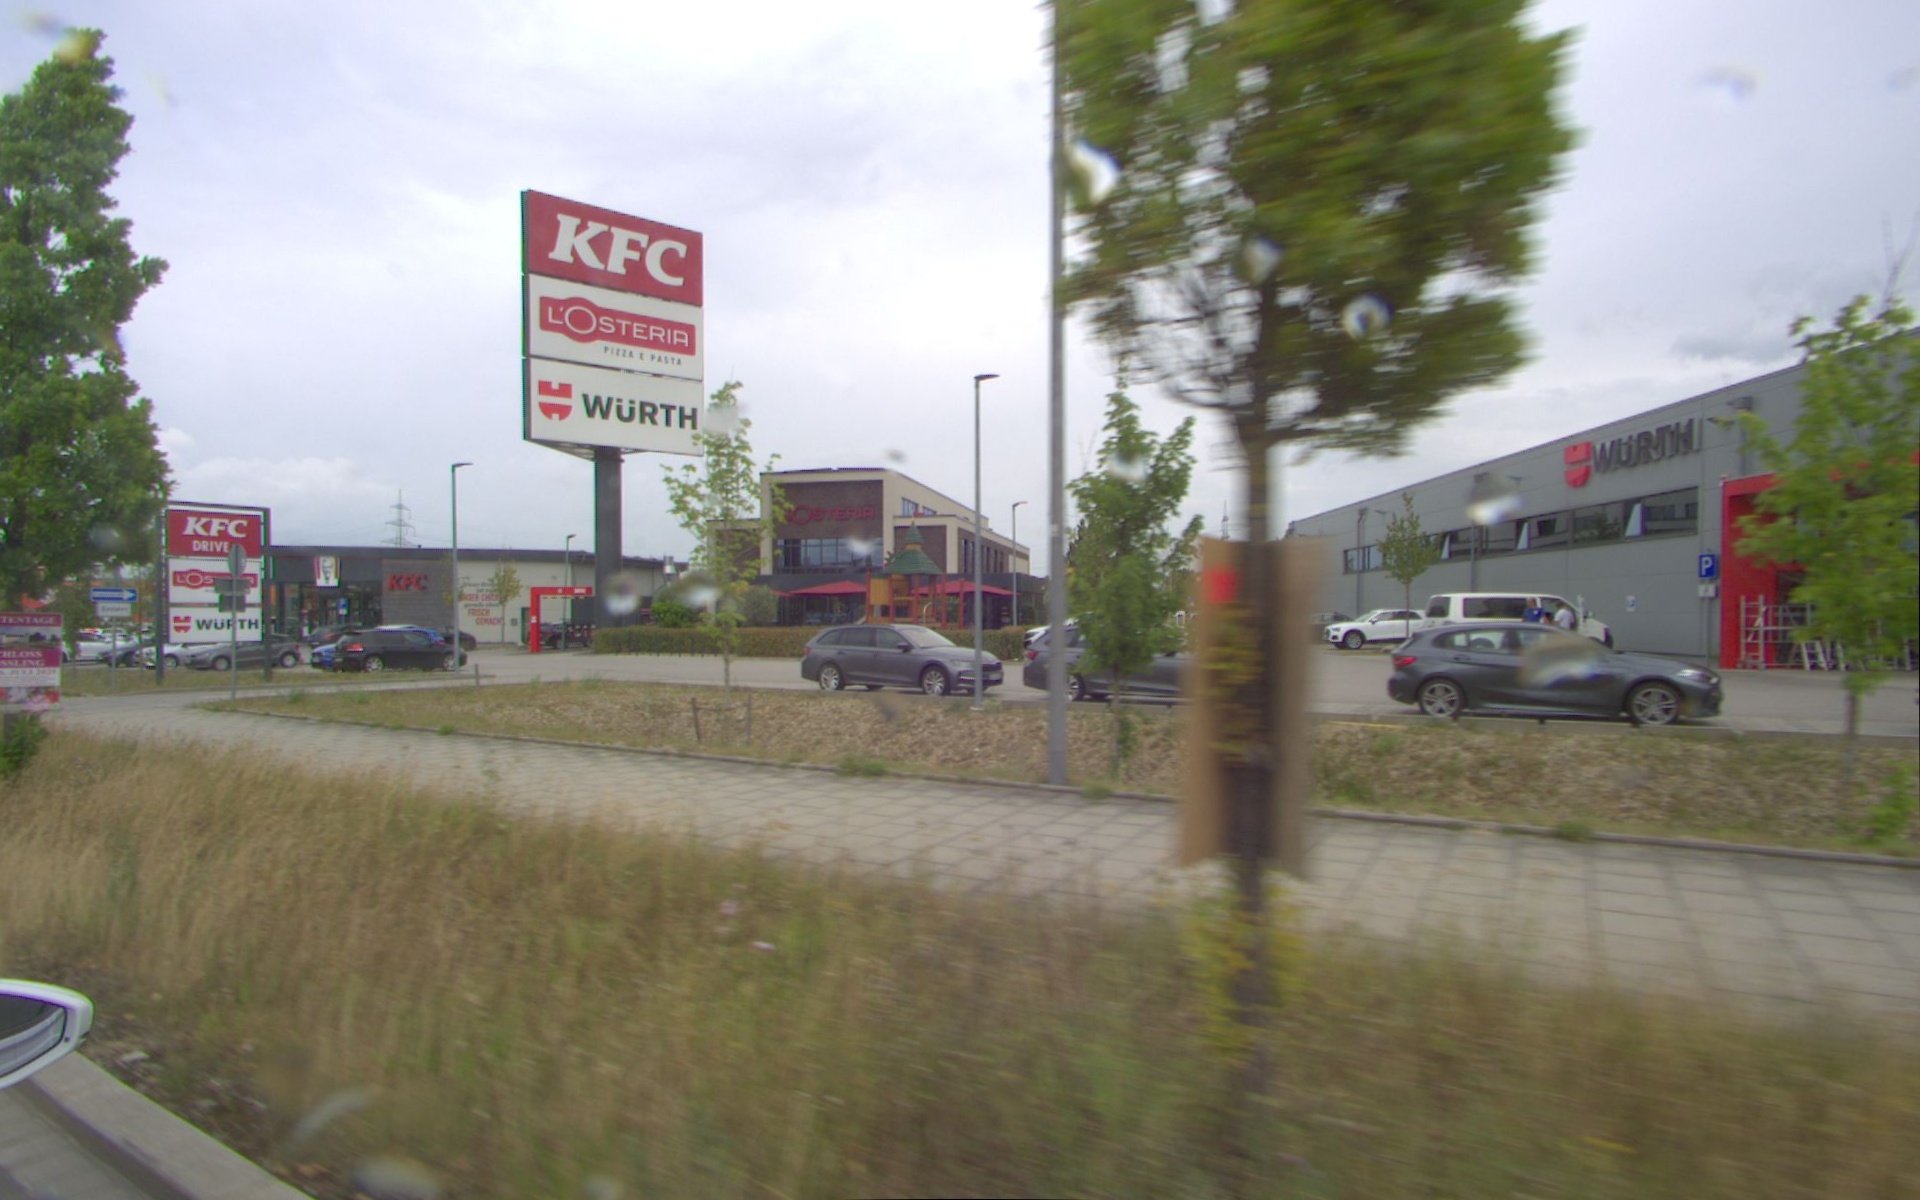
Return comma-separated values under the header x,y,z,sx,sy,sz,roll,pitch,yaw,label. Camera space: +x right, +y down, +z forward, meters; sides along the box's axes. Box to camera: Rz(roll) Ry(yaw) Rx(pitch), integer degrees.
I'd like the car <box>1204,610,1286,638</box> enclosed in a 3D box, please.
x,y,z,sx,sy,sz,roll,pitch,yaw,label
16.873,1.420,59.490,4.372,1.539,2.081,-1,0,5,car

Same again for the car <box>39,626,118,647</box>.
x,y,z,sx,sy,sz,roll,pitch,yaw,label
-71.776,2.949,81.593,4.677,1.678,1.985,0,-1,-38,car

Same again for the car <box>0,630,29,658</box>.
x,y,z,sx,sy,sz,roll,pitch,yaw,label
-51.080,2.306,51.644,1.908,1.457,4.091,0,0,17,car

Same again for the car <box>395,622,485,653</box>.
x,y,z,sx,sy,sz,roll,pitch,yaw,label
-28.927,2.055,55.871,1.940,1.539,4.572,-1,0,12,car

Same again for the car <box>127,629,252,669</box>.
x,y,z,sx,sy,sz,roll,pitch,yaw,label
-33.318,2.096,43.385,1.873,1.501,3.857,-1,0,29,car

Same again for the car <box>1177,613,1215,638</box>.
x,y,z,sx,sy,sz,roll,pitch,yaw,label
15.662,1.645,66.591,2.041,1.539,4.458,-1,0,8,car

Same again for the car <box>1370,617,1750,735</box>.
x,y,z,sx,sy,sz,roll,pitch,yaw,label
8.672,1.069,14.914,4.538,1.516,1.992,-2,-1,29,car

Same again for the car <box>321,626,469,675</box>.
x,y,z,sx,sy,sz,roll,pitch,yaw,label
-19.158,1.661,34.109,1.955,1.513,3.976,-1,-1,35,car

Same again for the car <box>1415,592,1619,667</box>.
x,y,z,sx,sy,sz,roll,pitch,yaw,label
15.395,0.819,27.858,4.545,2.013,2.000,0,-1,2,car

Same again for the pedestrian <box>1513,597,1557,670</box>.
x,y,z,sx,sy,sz,roll,pitch,yaw,label
15.116,0.865,26.338,0.786,1.893,0.614,0,0,-5,pedestrian

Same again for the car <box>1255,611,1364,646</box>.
x,y,z,sx,sy,sz,roll,pitch,yaw,label
16.503,1.328,47.451,4.487,1.539,2.081,-1,0,2,car

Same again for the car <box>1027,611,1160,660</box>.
x,y,z,sx,sy,sz,roll,pitch,yaw,label
4.801,1.288,36.605,4.699,1.719,2.000,0,-1,5,car

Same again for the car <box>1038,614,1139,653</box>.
x,y,z,sx,sy,sz,roll,pitch,yaw,label
5.517,1.466,43.527,4.243,1.650,1.986,0,-1,5,car

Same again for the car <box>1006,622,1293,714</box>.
x,y,z,sx,sy,sz,roll,pitch,yaw,label
3.376,1.139,18.149,4.807,1.455,1.861,-1,-1,30,car

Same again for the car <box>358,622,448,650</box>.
x,y,z,sx,sy,sz,roll,pitch,yaw,label
-32.941,2.097,59.376,2.042,1.539,4.571,-1,0,14,car

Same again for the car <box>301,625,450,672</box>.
x,y,z,sx,sy,sz,roll,pitch,yaw,label
-20.939,1.702,36.053,1.938,1.539,4.254,-1,-1,33,car

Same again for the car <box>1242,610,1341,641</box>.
x,y,z,sx,sy,sz,roll,pitch,yaw,label
17.049,1.303,51.642,4.487,1.539,2.080,-1,0,5,car

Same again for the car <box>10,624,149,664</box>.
x,y,z,sx,sy,sz,roll,pitch,yaw,label
-41.982,2.071,47.874,2.054,1.667,4.562,-1,0,23,car

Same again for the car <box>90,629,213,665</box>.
x,y,z,sx,sy,sz,roll,pitch,yaw,label
-37.255,2.161,46.257,1.910,1.504,3.985,-1,-1,27,car

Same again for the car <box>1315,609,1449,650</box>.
x,y,z,sx,sy,sz,roll,pitch,yaw,label
16.722,1.173,39.911,4.487,1.539,2.080,-1,0,5,car

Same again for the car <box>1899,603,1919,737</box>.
x,y,z,sx,sy,sz,roll,pitch,yaw,label
14.096,0.865,11.593,4.336,1.708,1.764,0,0,22,car

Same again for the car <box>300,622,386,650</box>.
x,y,z,sx,sy,sz,roll,pitch,yaw,label
-37.836,2.182,61.510,2.009,1.539,4.374,-1,0,12,car

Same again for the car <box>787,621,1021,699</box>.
x,y,z,sx,sy,sz,roll,pitch,yaw,label
-1.243,1.189,21.271,4.763,1.479,1.958,-1,-1,33,car

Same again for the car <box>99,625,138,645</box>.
x,y,z,sx,sy,sz,roll,pitch,yaw,label
-64.553,2.655,76.843,1.931,1.462,4.190,0,-1,-35,car

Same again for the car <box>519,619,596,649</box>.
x,y,z,sx,sy,sz,roll,pitch,yaw,label
-23.201,1.937,57.912,1.861,1.539,4.572,-1,0,12,car

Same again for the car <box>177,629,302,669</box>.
x,y,z,sx,sy,sz,roll,pitch,yaw,label
-29.312,1.970,40.841,1.862,1.513,3.753,-1,-1,30,car

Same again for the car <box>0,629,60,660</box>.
x,y,z,sx,sy,sz,roll,pitch,yaw,label
-48.479,2.250,50.290,1.996,1.488,4.525,0,-1,18,car
